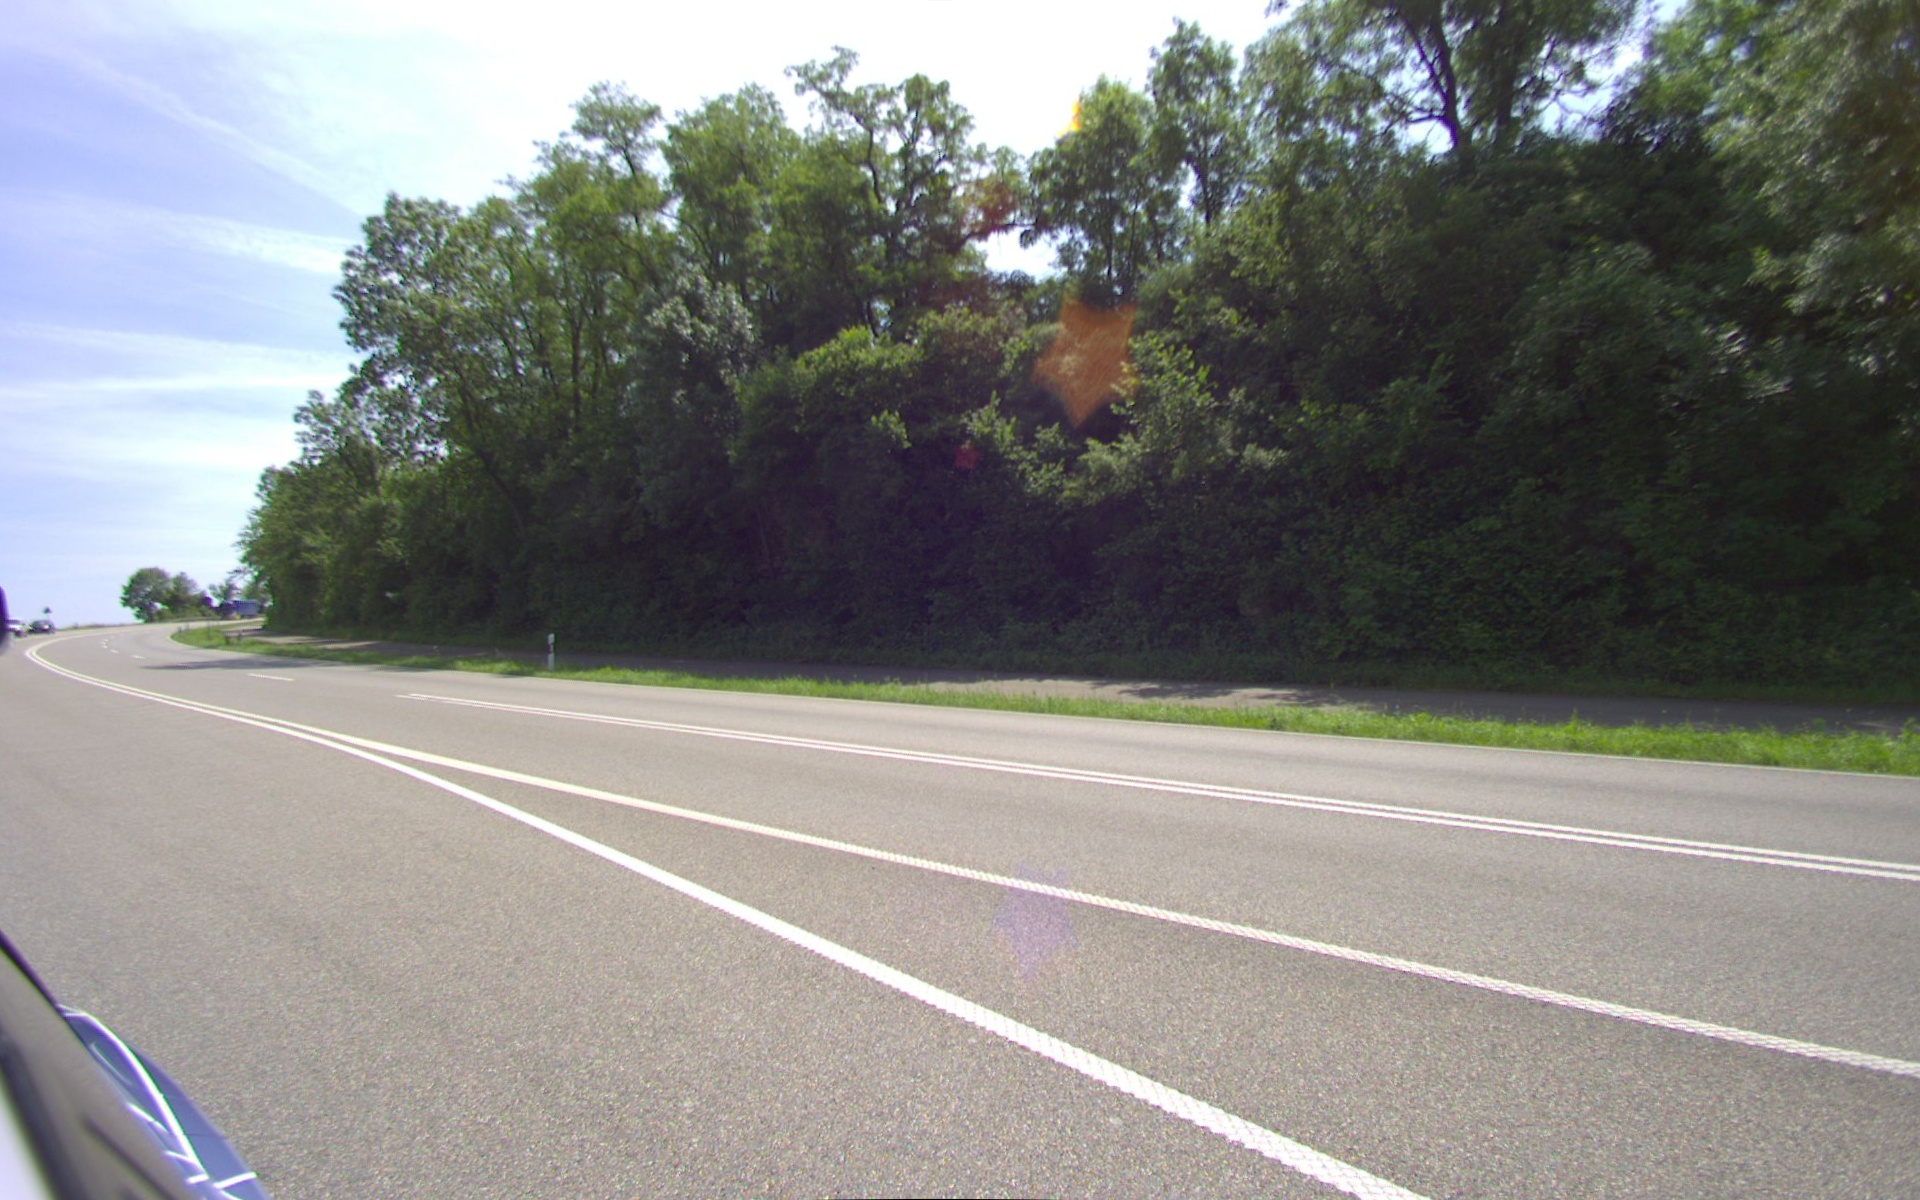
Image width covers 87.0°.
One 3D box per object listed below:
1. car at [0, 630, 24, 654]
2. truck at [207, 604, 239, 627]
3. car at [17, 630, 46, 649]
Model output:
[{"bbox_3d":[-85.866,3.797,91.253,1.823,2.029,3.880,0,0,-38],"label":"car"},{"bbox_3d":[-148.628,3.107,204.268,4.327,4.493,14.752,-1,-1,-33],"label":"truck"},{"bbox_3d":[-96.499,4.078,105.233,1.738,1.874,3.819,0,0,-35],"label":"car"}]
